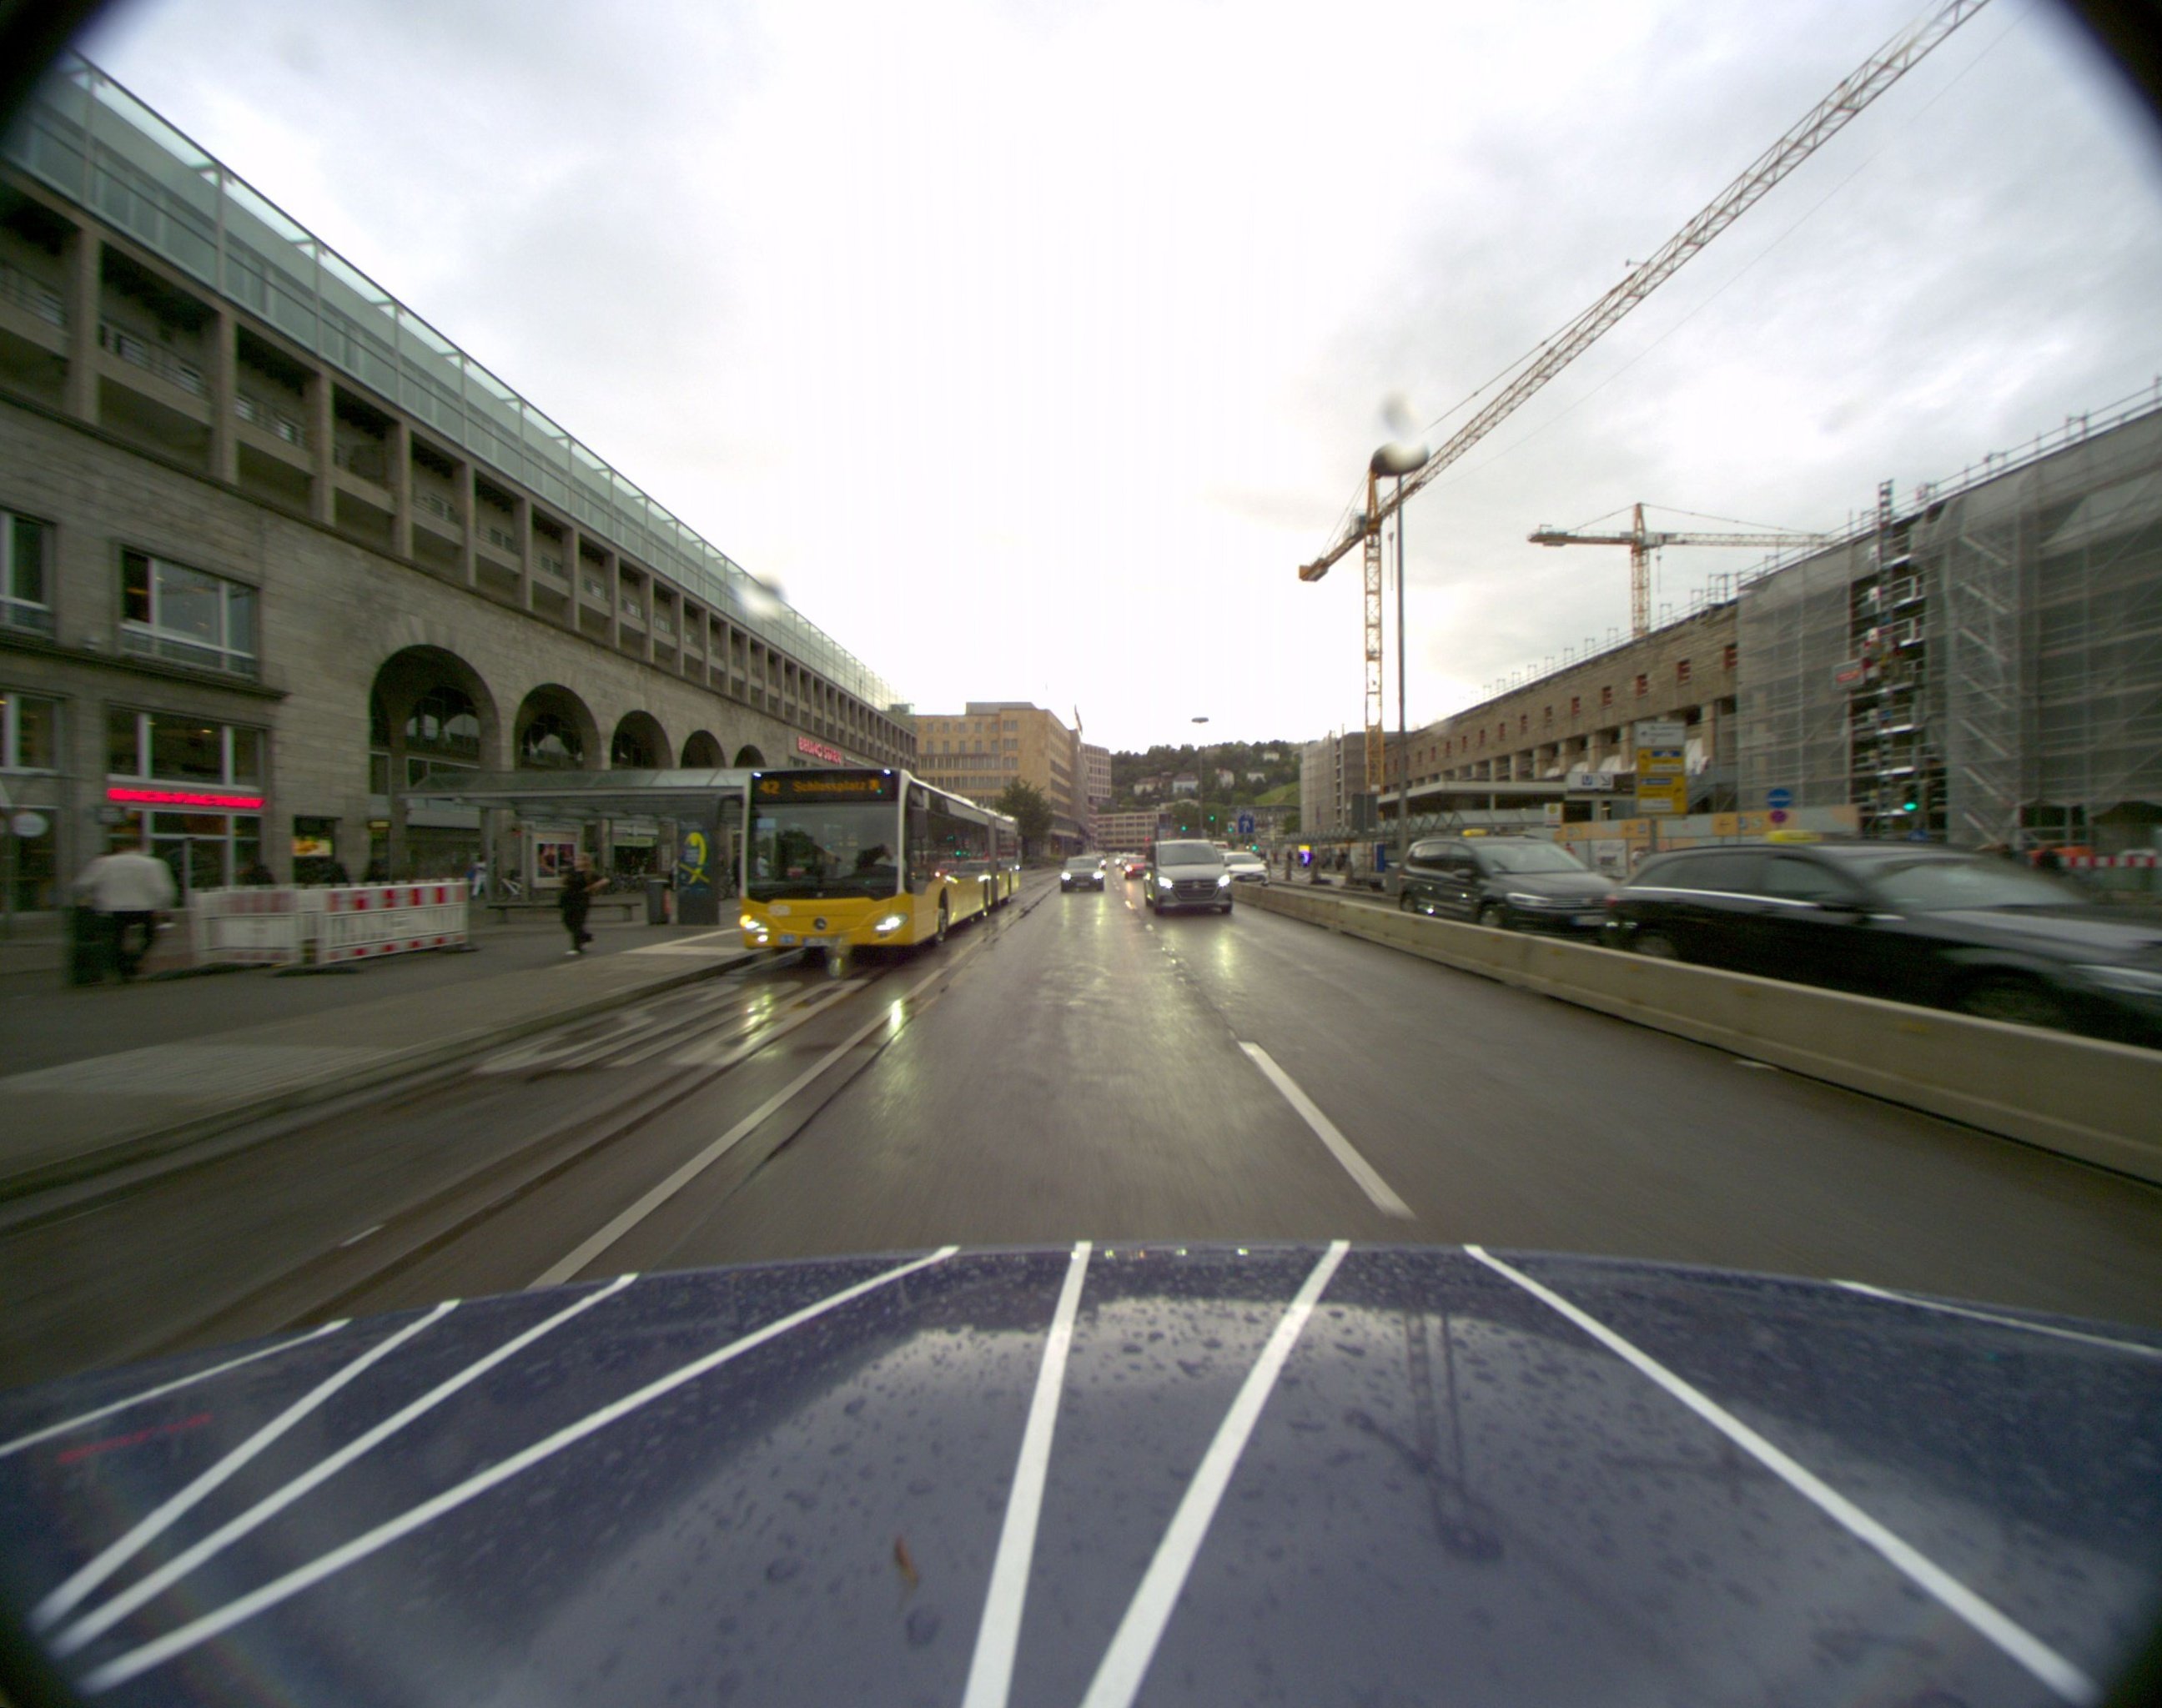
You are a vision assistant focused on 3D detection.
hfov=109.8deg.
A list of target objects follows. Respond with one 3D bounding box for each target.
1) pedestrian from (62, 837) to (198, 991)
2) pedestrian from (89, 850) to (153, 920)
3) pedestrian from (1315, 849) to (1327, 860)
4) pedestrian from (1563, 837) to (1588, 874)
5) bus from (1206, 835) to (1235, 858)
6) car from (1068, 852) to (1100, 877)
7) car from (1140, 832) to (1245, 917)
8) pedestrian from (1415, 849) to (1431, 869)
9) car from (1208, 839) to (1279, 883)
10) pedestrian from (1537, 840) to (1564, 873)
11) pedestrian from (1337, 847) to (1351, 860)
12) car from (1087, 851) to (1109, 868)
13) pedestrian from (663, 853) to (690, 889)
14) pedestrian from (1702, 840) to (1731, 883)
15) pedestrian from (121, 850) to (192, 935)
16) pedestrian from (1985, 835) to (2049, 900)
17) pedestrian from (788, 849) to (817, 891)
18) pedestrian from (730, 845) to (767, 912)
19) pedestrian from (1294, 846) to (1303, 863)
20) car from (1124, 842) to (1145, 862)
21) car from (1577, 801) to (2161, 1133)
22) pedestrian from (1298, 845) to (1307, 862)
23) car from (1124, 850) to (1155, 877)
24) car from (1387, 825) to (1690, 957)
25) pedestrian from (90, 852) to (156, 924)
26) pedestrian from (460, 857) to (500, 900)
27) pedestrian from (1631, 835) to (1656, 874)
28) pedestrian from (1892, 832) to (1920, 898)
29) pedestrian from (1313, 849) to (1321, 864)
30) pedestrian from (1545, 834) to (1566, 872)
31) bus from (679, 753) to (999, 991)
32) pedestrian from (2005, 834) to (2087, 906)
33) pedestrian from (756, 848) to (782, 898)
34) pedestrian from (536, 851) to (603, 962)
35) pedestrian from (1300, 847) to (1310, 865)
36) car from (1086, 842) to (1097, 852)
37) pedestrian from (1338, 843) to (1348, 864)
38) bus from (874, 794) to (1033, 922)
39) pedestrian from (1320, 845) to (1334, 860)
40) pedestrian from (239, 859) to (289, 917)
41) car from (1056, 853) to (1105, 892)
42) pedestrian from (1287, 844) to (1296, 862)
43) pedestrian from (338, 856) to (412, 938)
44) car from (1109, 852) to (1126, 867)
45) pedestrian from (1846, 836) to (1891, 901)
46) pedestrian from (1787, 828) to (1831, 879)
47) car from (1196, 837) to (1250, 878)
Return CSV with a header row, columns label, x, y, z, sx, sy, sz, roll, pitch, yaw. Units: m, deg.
label,x,y,z,sx,sy,sz,roll,pitch,yaw
pedestrian,-11.551,0.693,9.248,0.733,1.782,0.757,0,1,16
pedestrian,-25.548,0.803,20.227,0.786,1.782,0.994,0,2,38
pedestrian,24.105,0.074,76.385,0.846,1.087,0.926,-1,1,1
pedestrian,26.966,0.081,41.448,0.744,1.928,0.864,-3,1,-2
bus,23.347,-1.342,128.328,2.916,3.557,19.080,0,1,5
car,0.249,0.683,51.397,1.876,1.499,4.164,-1,1,3
car,2.810,0.451,20.413,1.998,1.893,5.250,-3,1,0
pedestrian,23.020,0.328,51.209,0.701,1.318,0.805,-1,1,1
car,6.770,0.226,32.149,1.998,1.696,4.831,-1,1,0
pedestrian,26.974,0.117,43.669,0.859,1.830,1.045,-3,1,2
pedestrian,24.066,-0.035,69.585,0.952,1.151,1.055,-1,1,2
car,1.730,0.530,74.512,1.998,1.549,3.909,-1,1,3
pedestrian,-18.562,0.774,34.867,0.795,1.609,0.870,-1,1,-9
pedestrian,27.472,0.323,32.840,0.723,1.830,0.612,-1,1,5
pedestrian,-21.586,0.881,17.761,0.790,1.918,0.653,-1,2,-23
pedestrian,27.102,0.384,22.007,0.804,1.830,0.851,-1,1,5
pedestrian,-11.574,0.660,31.626,0.750,1.685,0.902,-1,1,5
pedestrian,-9.787,0.709,22.392,0.795,1.918,0.705,-1,1,-9
pedestrian,23.306,0.071,81.455,0.557,1.780,0.805,-2,1,-6
car,5.136,-0.198,73.602,1.872,1.747,3.901,-2,1,2
car,6.559,0.539,5.946,2.054,1.702,5.054,-1,1,0
pedestrian,23.303,-0.097,79.988,0.726,1.780,0.747,-2,1,-4
car,3.575,0.575,46.835,1.709,1.485,3.670,-2,1,3
car,6.724,0.439,11.949,1.998,1.644,4.640,-1,1,0
pedestrian,-24.900,0.860,19.764,0.786,1.782,0.994,0,2,38
pedestrian,-22.872,0.903,28.913,0.786,1.580,0.994,0,2,38
pedestrian,27.447,0.017,37.073,0.744,1.830,0.656,-1,1,5
pedestrian,23.334,0.310,21.496,0.339,1.830,0.510,-1,1,18
pedestrian,24.771,0.259,79.690,0.557,1.621,0.805,-2,1,-6
pedestrian,23.514,-0.060,37.665,0.745,1.830,0.702,-1,1,22
bus,-3.849,0.166,15.164,3.121,3.187,9.240,-2,1,1
pedestrian,25.573,0.407,20.152,0.841,1.830,1.058,-1,1,6
pedestrian,-11.631,0.696,28.323,0.790,1.794,0.990,-1,1,-26
pedestrian,-7.714,0.780,11.484,0.595,1.609,0.511,-2,2,-9
pedestrian,22.689,0.164,76.948,0.776,1.780,0.861,-1,1,9
car,2.079,-1.416,148.924,1.998,1.874,4.997,-1,1,3
pedestrian,22.520,-0.047,65.277,0.679,1.837,0.556,-2,2,-42
bus,-3.615,0.018,24.350,3.149,3.229,9.134,-2,1,2
pedestrian,24.097,-0.127,74.362,1.057,1.424,0.831,-1,1,1
pedestrian,-22.243,0.914,20.695,0.690,1.512,0.589,-1,2,-23
car,0.054,0.784,34.114,1.822,1.455,4.700,-3,1,3
pedestrian,23.112,-0.105,83.388,0.761,1.948,0.822,-2,2,0
pedestrian,-15.969,0.945,17.211,0.994,1.782,0.787,-1,2,-27
car,4.415,0.632,92.442,1.872,1.716,3.901,-2,1,2
pedestrian,23.004,0.411,22.212,0.702,1.830,0.879,-1,1,31
pedestrian,26.826,-0.008,28.019,0.804,1.830,0.868,-1,1,5
car,6.928,0.116,37.471,1.998,1.851,4.833,-1,1,3
